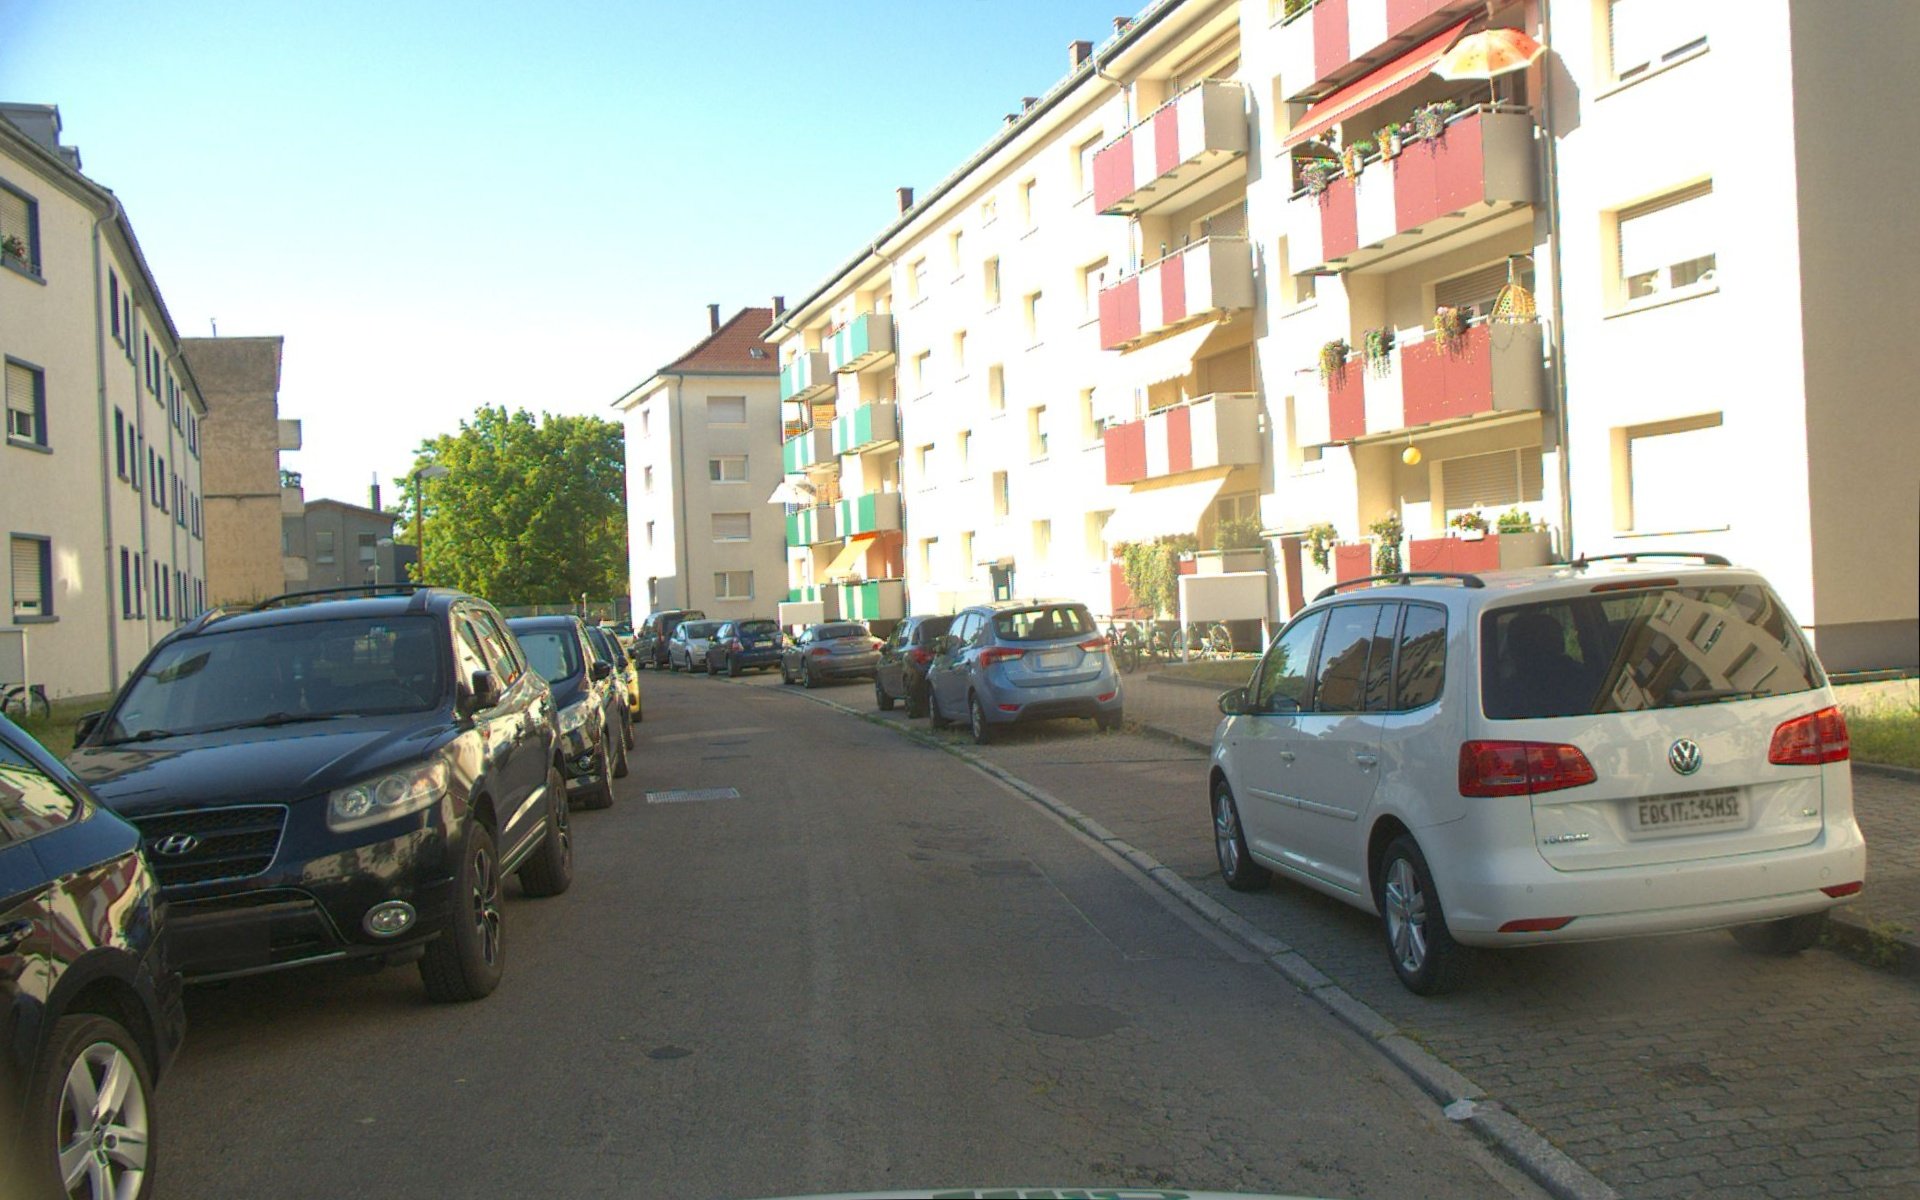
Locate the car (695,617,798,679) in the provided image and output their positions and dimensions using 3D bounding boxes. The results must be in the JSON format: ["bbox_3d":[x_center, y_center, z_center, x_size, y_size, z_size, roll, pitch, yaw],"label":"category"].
[{"bbox_3d":[-5.807,1.287,44.568,1.713,1.456,4.329,-5,0,-21],"label":"car"}]

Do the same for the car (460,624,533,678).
[{"bbox_3d":[-14.442,1.573,51.375,1.637,1.468,3.843,-5,0,-23],"label":"car"}]

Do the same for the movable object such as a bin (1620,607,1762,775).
[{"bbox_3d":[5.053,0.623,11.468,0.572,1.074,0.640,-6,-2,-2],"label":"movable object such as a bin"}]

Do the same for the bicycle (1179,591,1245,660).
[{"bbox_3d":[4.499,0.465,29.628,0.401,1.170,1.754,-5,0,-16],"label":"bicycle"}]

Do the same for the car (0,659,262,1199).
[{"bbox_3d":[-2.767,0.964,2.773,1.525,1.467,3.966,-5,0,-2],"label":"car"}]

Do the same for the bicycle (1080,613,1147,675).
[{"bbox_3d":[2.712,0.773,29.405,0.489,1.037,1.834,-5,0,-16],"label":"bicycle"}]

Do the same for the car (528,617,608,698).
[{"bbox_3d":[-8.641,1.232,36.289,1.455,1.502,3.616,-7,1,-15],"label":"car"}]

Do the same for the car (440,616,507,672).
[{"bbox_3d":[-17.979,1.647,61.032,1.871,1.887,4.165,-3,-1,-23],"label":"car"}]

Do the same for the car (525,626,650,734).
[{"bbox_3d":[-5.818,1.185,25.887,1.665,1.413,4.143,-4,0,-13],"label":"car"}]

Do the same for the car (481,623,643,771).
[{"bbox_3d":[-4.907,1.109,20.582,1.665,1.470,4.007,-5,1,-13],"label":"car"}]

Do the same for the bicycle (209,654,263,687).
[{"bbox_3d":[-24.942,2.428,56.981,1.624,0.952,0.544,-5,0,-21],"label":"bicycle"}]

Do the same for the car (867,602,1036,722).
[{"bbox_3d":[-0.216,0.906,25.607,1.706,1.534,3.872,-6,1,-13],"label":"car"}]

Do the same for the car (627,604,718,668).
[{"bbox_3d":[-9.392,1.205,53.827,1.872,1.887,4.311,-3,-1,-24],"label":"car"}]

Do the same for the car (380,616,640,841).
[{"bbox_3d":[-3.825,0.993,14.690,1.663,1.587,4.148,-4,0,-9],"label":"car"}]

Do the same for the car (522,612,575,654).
[{"bbox_3d":[-19.547,1.580,78.480,1.742,1.769,4.065,-5,0,-23],"label":"car"}]

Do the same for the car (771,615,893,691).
[{"bbox_3d":[-2.851,1.109,35.930,1.659,1.386,4.219,-6,1,-17],"label":"car"}]

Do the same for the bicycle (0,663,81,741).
[{"bbox_3d":[-13.953,1.495,24.263,1.784,1.097,0.568,0,0,-4],"label":"bicycle"}]

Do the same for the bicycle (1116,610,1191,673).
[{"bbox_3d":[3.456,0.729,29.682,0.607,0.994,1.888,-6,2,-15],"label":"bicycle"}]

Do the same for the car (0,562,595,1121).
[{"bbox_3d":[-2.810,0.840,7.826,1.526,1.743,4.331,-5,0,-7],"label":"car"}]

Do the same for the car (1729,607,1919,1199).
[{"bbox_3d":[2.861,0.677,1.414,1.663,1.455,4.680,-7,0,-7],"label":"car"}]

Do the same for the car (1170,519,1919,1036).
[{"bbox_3d":[2.413,0.631,8.054,1.662,1.684,4.384,-4,0,-6],"label":"car"}]

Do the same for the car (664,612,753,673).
[{"bbox_3d":[-7.503,1.254,49.124,1.658,1.615,3.985,-4,0,-22],"label":"car"}]

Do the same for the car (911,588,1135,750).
[{"bbox_3d":[0.672,0.767,20.697,1.736,1.663,4.028,-5,1,-12],"label":"car"}]

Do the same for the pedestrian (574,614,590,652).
[{"bbox_3d":[-18.914,1.661,82.687,0.643,1.847,0.612,-5,0,-13],"label":"pedestrian"}]

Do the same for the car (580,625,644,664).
[{"bbox_3d":[-13.410,1.682,63.638,1.693,1.388,4.027,-1,0,-22],"label":"car"}]
